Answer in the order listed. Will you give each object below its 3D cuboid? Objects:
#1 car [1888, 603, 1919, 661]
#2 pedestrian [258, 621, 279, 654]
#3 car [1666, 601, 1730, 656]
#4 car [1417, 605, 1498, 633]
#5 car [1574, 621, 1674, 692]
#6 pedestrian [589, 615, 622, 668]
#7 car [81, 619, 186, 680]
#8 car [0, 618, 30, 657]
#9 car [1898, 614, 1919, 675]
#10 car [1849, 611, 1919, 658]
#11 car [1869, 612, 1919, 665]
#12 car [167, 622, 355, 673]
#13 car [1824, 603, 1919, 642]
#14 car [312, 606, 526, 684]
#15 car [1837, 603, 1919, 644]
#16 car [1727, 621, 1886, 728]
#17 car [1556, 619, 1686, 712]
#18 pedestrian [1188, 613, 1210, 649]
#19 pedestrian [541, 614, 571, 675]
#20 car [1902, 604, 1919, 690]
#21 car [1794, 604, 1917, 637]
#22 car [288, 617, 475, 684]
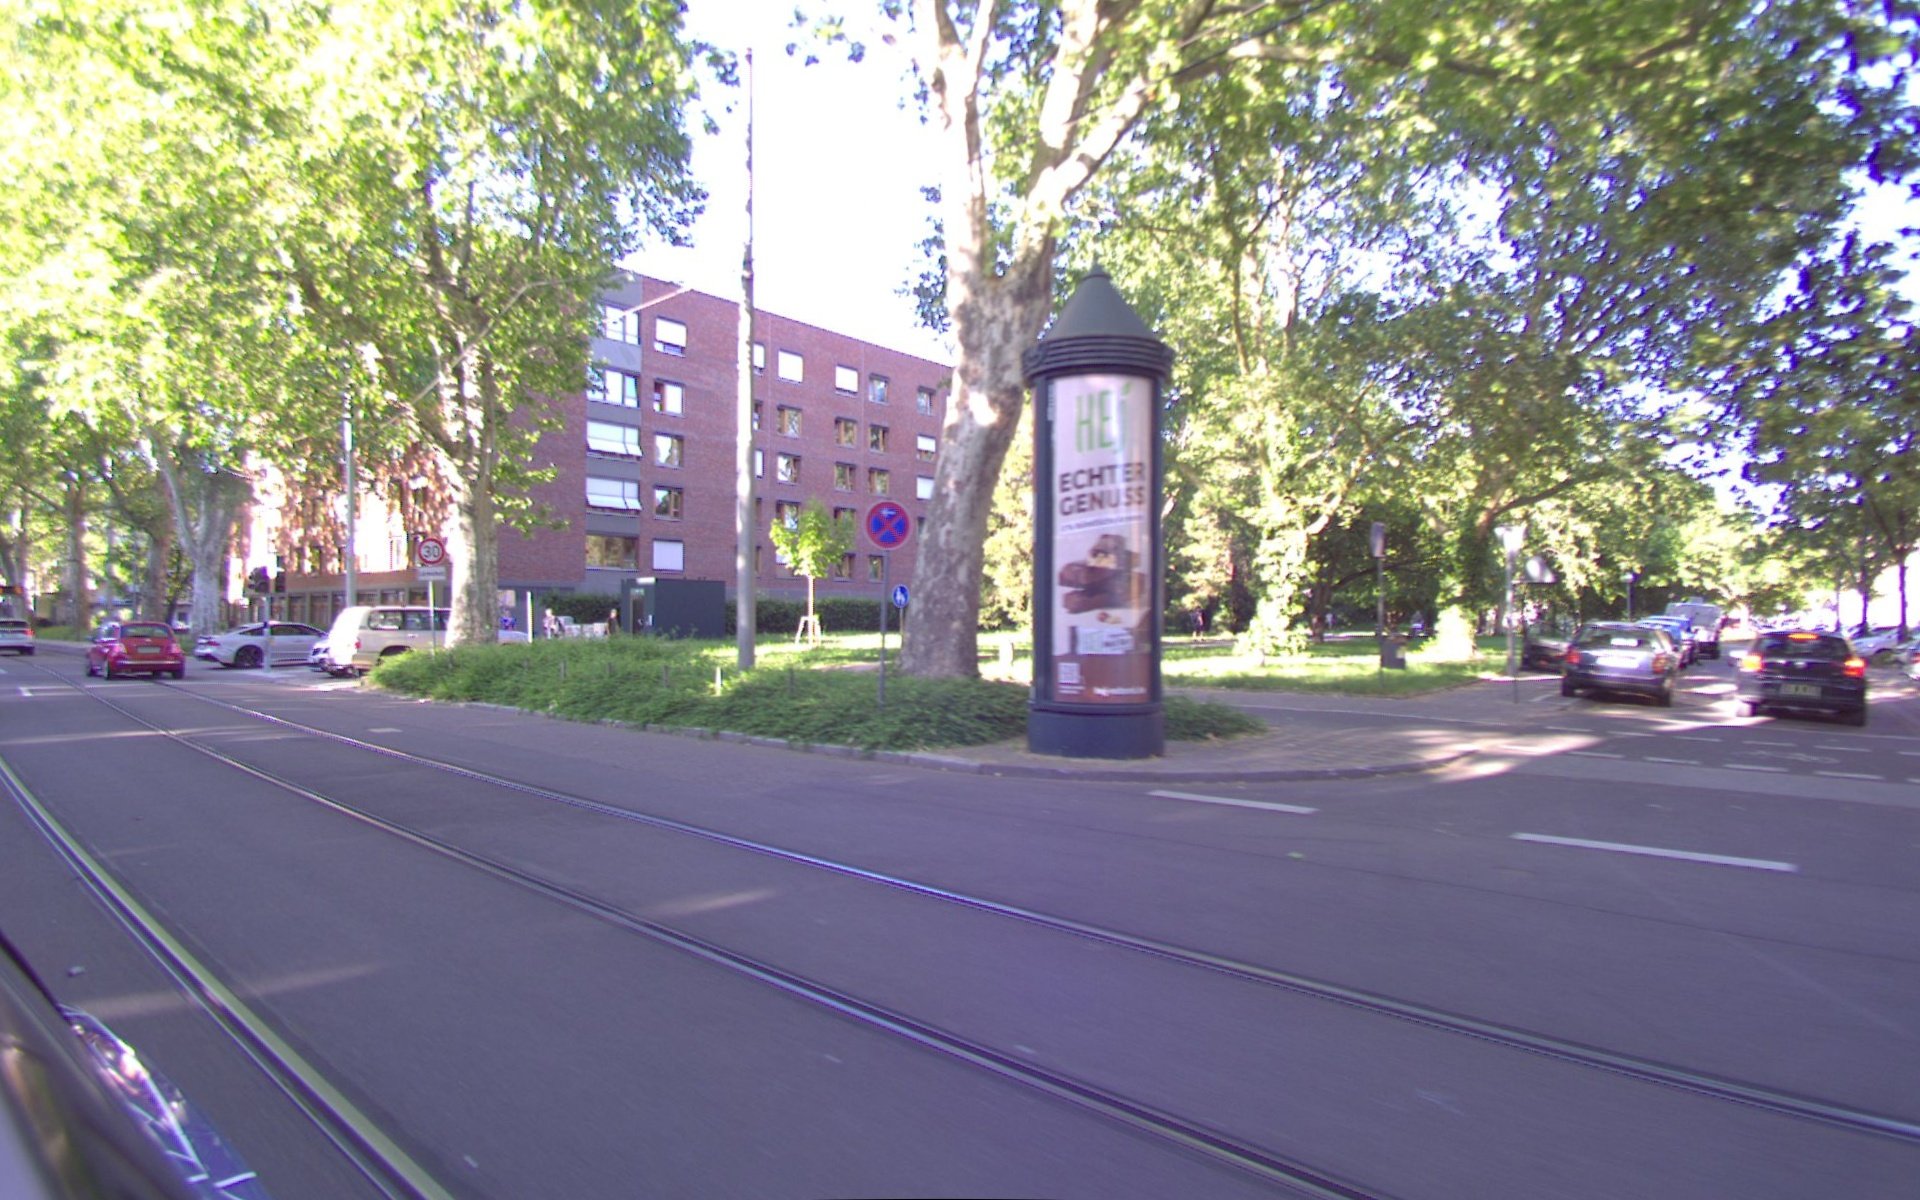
[{"bbox_3d":[29.376,0.893,28.523,4.472,1.630,1.928,-1,-1,34],"label":"car"},{"bbox_3d":[-37.738,2.040,55.211,0.972,1.757,0.755,-1,-1,41],"label":"pedestrian"},{"bbox_3d":[31.462,1.146,43.098,2.040,2.214,4.685,-1,-1,38],"label":"car"},{"bbox_3d":[30.742,1.158,62.584,1.868,1.630,4.109,0,-1,-44],"label":"car"},{"bbox_3d":[15.703,1.252,24.000,1.819,1.461,4.432,-1,-1,33],"label":"car"},{"bbox_3d":[-11.548,1.336,32.963,0.779,1.686,0.702,-1,-1,41],"label":"pedestrian"},{"bbox_3d":[-21.726,1.247,26.581,3.472,1.455,1.643,-1,-1,42],"label":"car"},{"bbox_3d":[-40.901,1.569,42.841,4.115,1.580,1.796,-1,-3,42],"label":"car"},{"bbox_3d":[28.138,1.198,26.868,4.472,1.630,1.928,-1,-1,34],"label":"car"},{"bbox_3d":[35.100,1.223,36.375,4.472,1.630,1.928,-1,-1,34],"label":"car"},{"bbox_3d":[31.422,1.197,31.434,4.472,1.630,1.928,-1,-1,34],"label":"car"},{"bbox_3d":[-22.620,1.479,32.900,1.953,1.471,4.716,-1,-1,40],"label":"car"},{"bbox_3d":[40.289,0.940,43.567,4.472,1.630,1.928,-1,-1,34],"label":"car"},{"bbox_3d":[-13.884,1.078,26.191,1.938,1.848,4.523,-1,-1,41],"label":"car"},{"bbox_3d":[38.938,0.932,41.350,4.472,1.630,1.928,-1,-1,34],"label":"car"},{"bbox_3d":[13.988,1.129,16.921,1.740,1.459,3.951,1,1,36],"label":"car"},{"bbox_3d":[12.636,1.138,19.263,1.856,1.500,4.487,-1,-1,35],"label":"car"},{"bbox_3d":[11.635,1.499,49.292,0.766,1.686,0.714,0,-1,-32],"label":"pedestrian"},{"bbox_3d":[-12.357,1.345,30.943,0.636,1.823,0.752,0,-1,-43],"label":"pedestrian"},{"bbox_3d":[23.342,1.008,21.327,4.913,1.858,1.975,-1,-1,38],"label":"car"},{"bbox_3d":[45.945,1.031,52.040,4.472,1.630,1.928,-1,-1,34],"label":"car"},{"bbox_3d":[-15.931,1.319,28.023,1.901,1.659,4.097,-1,-1,40],"label":"car"}]
